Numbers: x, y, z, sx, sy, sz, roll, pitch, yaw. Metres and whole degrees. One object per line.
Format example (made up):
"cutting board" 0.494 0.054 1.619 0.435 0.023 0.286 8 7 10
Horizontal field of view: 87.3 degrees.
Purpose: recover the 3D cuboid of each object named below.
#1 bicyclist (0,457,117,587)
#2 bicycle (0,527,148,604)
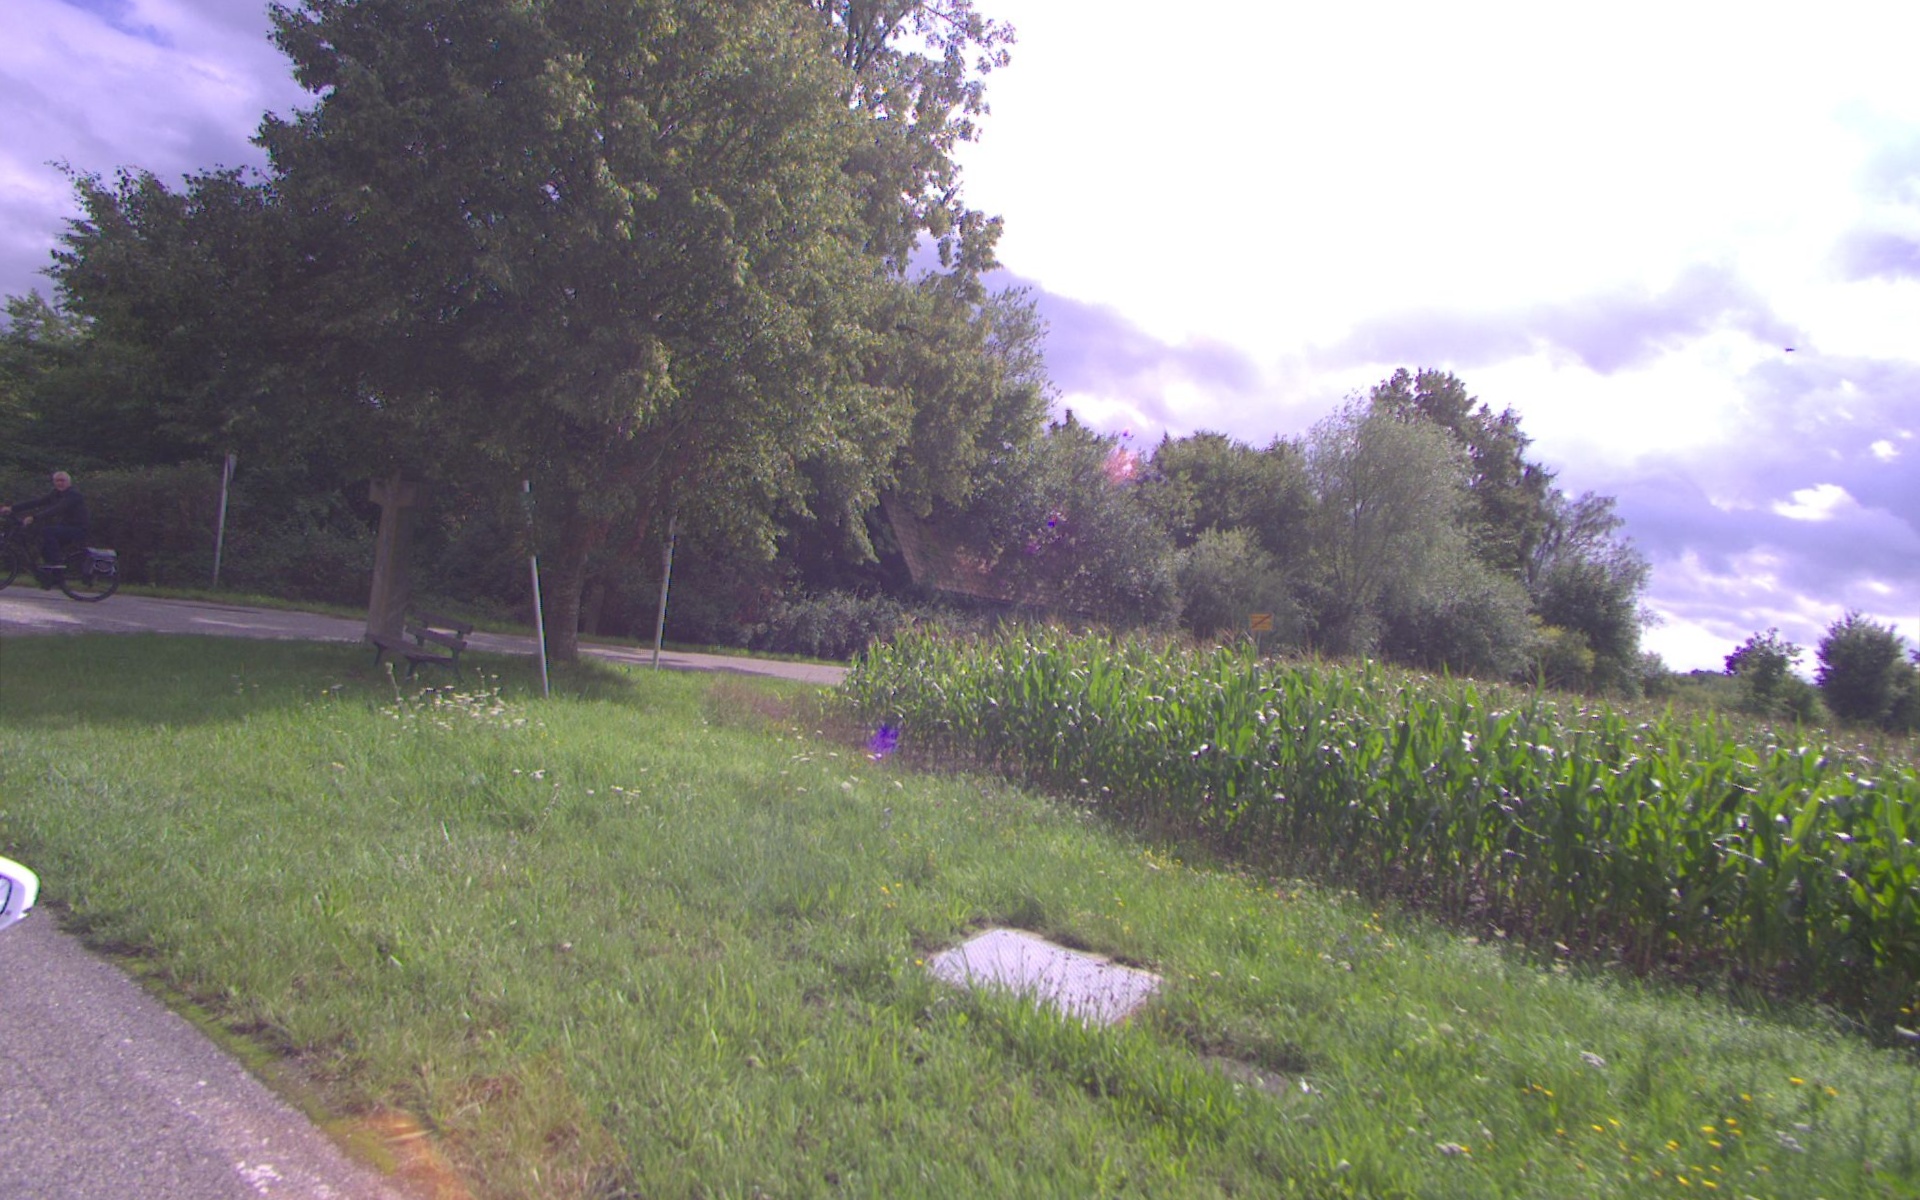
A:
"bicyclist" -12.929 -1.090 14.198 1.034 1.603 1.021 8 -1 18
"bicycle" -13.013 -0.513 14.204 1.034 0.874 2.124 8 -1 18
